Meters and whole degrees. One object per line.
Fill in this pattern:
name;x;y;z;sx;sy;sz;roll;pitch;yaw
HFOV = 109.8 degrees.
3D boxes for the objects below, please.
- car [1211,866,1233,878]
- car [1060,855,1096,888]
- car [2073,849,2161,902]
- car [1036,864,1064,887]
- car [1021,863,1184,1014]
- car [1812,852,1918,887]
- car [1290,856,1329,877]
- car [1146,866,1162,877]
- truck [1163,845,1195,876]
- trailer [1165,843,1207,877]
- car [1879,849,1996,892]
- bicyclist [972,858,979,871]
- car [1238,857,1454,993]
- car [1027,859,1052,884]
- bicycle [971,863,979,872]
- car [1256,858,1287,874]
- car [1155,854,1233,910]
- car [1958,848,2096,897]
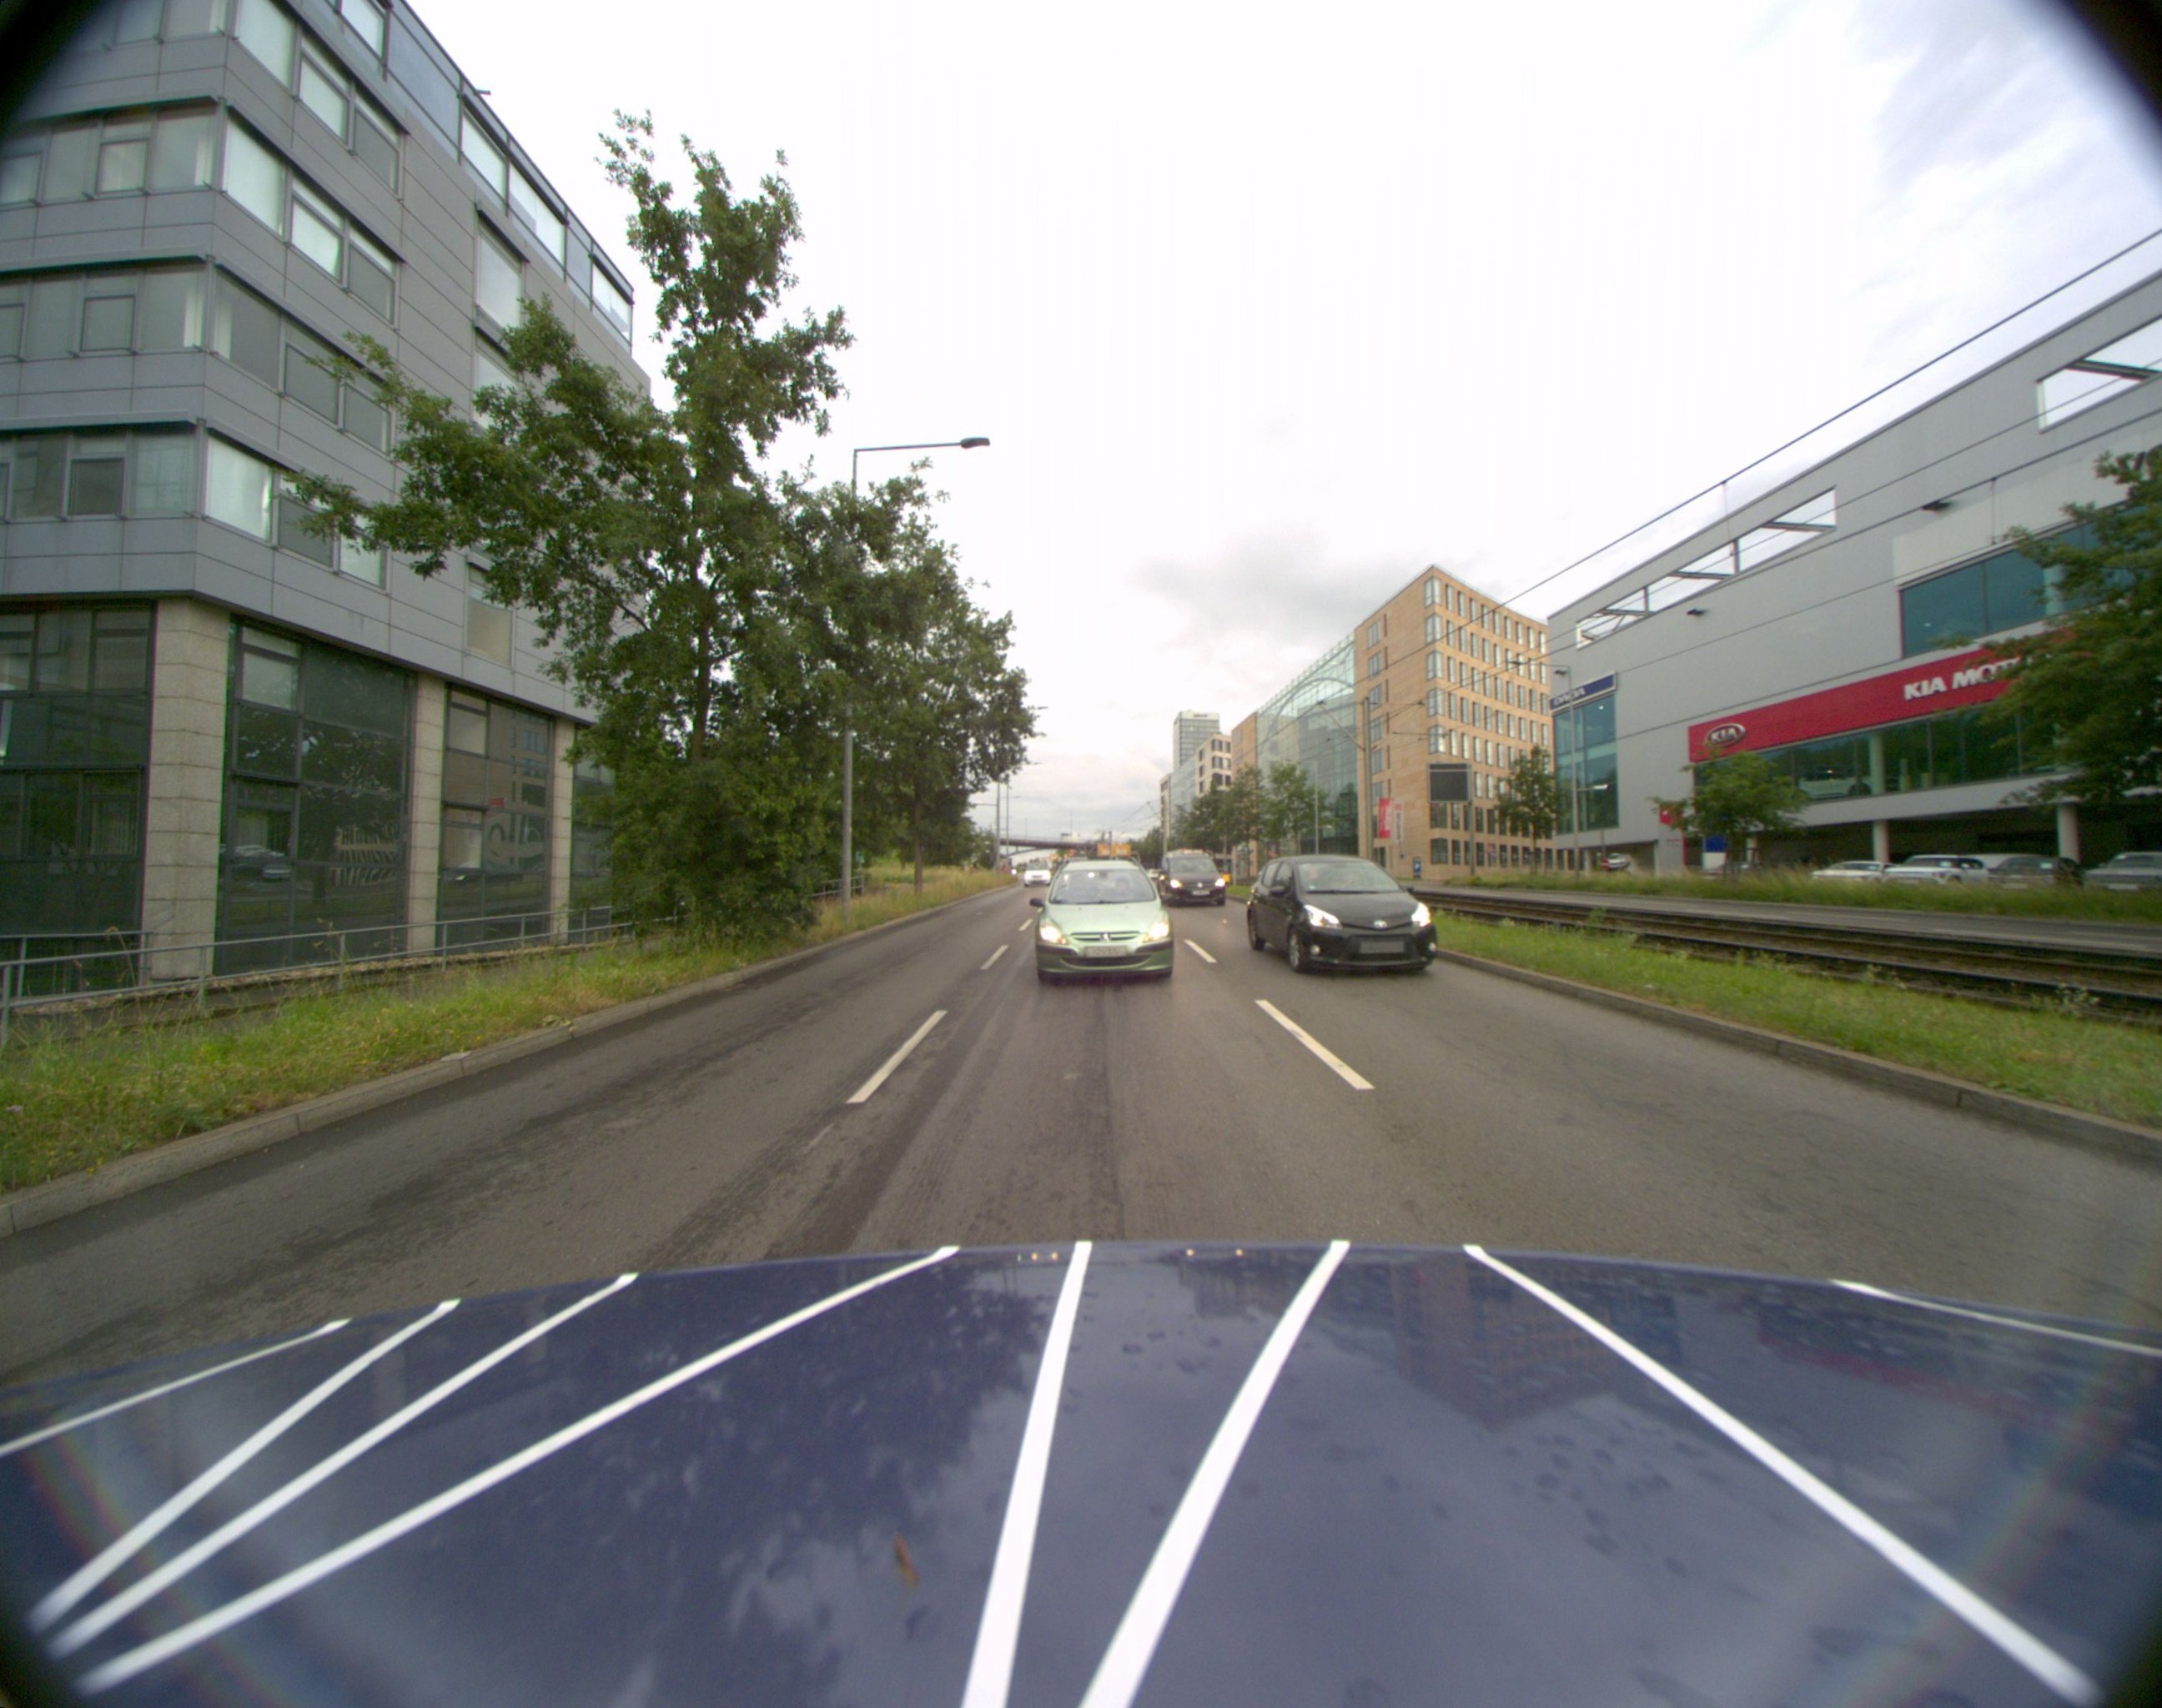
car;17.829;2.271;96.150;1.688;1.361;4.024;-1;0;-4
car;-0.226;0.877;40.187;1.759;1.649;4.337;-1;0;-2
car;32.032;0.615;22.843;3.528;1.344;1.696;-4;0;-20
car;-2.267;1.556;56.119;1.828;1.495;3.766;-1;0;1
car;0.232;0.923;10.303;1.704;1.523;4.371;-1;0;0
car;31.740;0.613;30.782;3.668;1.181;1.696;-4;0;-22
car;17.271;0.923;57.609;1.589;1.504;4.101;1;0;-3
car;10.211;2.416;106.667;1.655;1.428;3.879;-1;0;-4
truck;13.795;0.942;107.681;3.144;4.219;7.026;2;0;-3
trailer;14.023;0.799;102.811;3.143;4.304;13.277;2;0;-3
car;31.763;0.594;28.177;3.668;1.287;1.696;-4;0;-22
bicyclist;-12.743;1.247;91.523;0.647;1.569;0.855;-2;0;1
car;3.455;0.828;10.689;1.704;1.523;3.826;-1;0;0
car;-2.727;1.123;49.258;1.518;1.495;3.167;-1;0;-4
bicycle;-12.747;1.649;91.528;0.582;1.082;1.906;-2;0;1
car;18.905;1.159;75.481;1.689;1.571;4.097;-1;0;-5
car;3.531;0.824;24.481;1.786;1.597;4.317;-2;0;0
car;31.601;0.599;25.396;3.528;1.344;1.696;-4;0;-17
